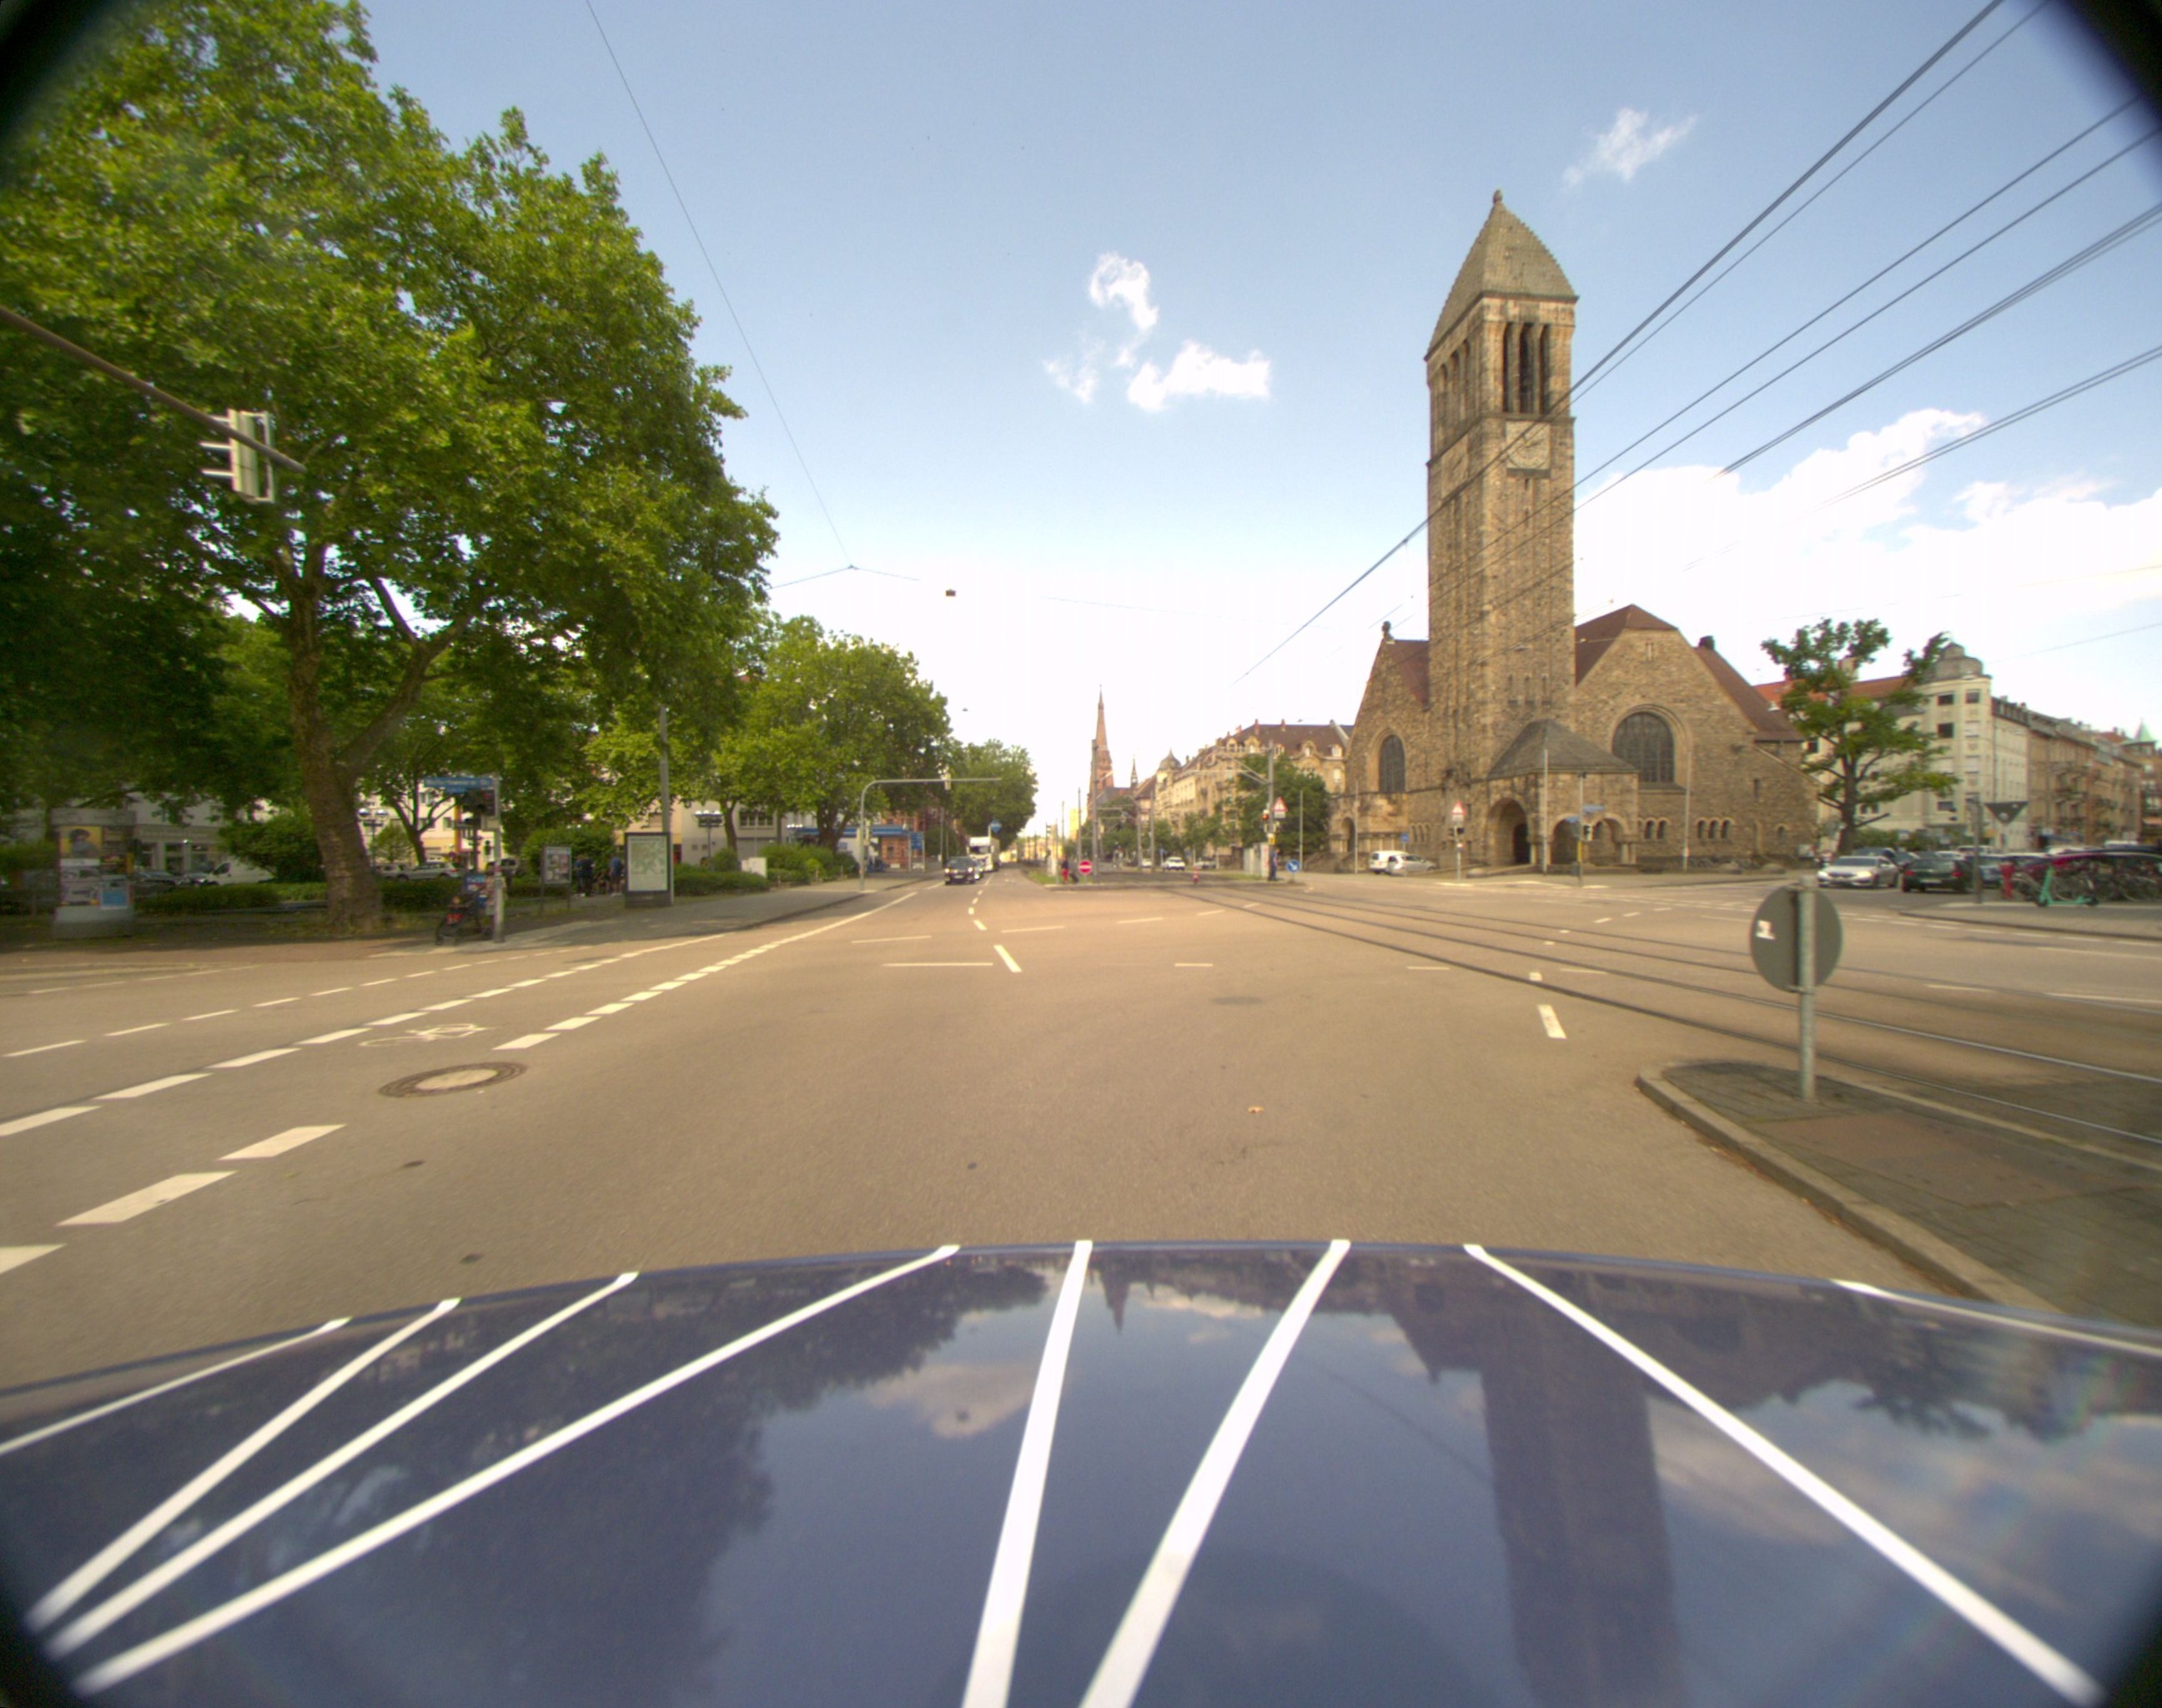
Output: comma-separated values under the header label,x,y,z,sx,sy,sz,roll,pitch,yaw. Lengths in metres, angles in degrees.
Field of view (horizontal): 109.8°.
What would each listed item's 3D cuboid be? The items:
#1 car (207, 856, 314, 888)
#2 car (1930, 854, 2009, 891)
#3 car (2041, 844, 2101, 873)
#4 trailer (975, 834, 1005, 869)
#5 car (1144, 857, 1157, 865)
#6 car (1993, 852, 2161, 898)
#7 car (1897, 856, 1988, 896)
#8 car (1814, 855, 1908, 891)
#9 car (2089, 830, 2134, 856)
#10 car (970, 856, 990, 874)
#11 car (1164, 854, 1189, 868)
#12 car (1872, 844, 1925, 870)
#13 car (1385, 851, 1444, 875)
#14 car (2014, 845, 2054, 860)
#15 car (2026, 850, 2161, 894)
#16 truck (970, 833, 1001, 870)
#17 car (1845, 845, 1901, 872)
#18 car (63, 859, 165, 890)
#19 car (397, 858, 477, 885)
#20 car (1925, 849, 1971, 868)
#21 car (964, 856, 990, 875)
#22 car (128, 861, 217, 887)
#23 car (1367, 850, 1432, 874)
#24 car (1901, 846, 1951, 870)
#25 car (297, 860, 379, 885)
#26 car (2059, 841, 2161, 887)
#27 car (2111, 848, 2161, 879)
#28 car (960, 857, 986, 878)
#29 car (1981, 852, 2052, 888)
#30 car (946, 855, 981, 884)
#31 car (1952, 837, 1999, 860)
label,x,y,z,sx,sy,sz,roll,pitch,yaw
car,-53.998,1.163,50.080,4.489,1.894,2.103,-1,1,-4
car,40.905,0.804,34.976,3.938,1.531,1.748,-1,1,-31
car,62.609,0.285,48.060,4.291,1.765,1.813,0,1,-31
trailer,-11.330,-0.367,95.546,2.916,4.054,11.646,-1,1,-3
car,11.624,1.149,126.954,1.655,1.226,3.062,-1,0,-5
car,35.036,0.720,26.299,3.991,1.448,1.815,-3,-2,22
car,34.760,0.858,30.644,3.824,1.425,1.714,-1,1,-30
car,35.203,0.802,34.275,4.393,1.440,1.823,-1,2,-29
car,102.088,-1.087,75.256,5.955,2.431,2.077,0,2,-31
car,-9.318,0.996,70.144,1.686,1.554,3.751,-1,0,-5
car,10.738,0.808,85.657,1.820,1.497,4.128,-1,0,-7
car,58.566,0.230,54.411,4.006,1.780,1.680,-1,1,-29
car,24.792,0.685,56.595,3.637,1.668,1.818,1,-1,-9
car,93.603,-0.130,74.629,4.193,1.360,1.807,-1,0,-29
car,37.879,0.656,27.667,3.946,1.448,1.734,-3,-3,19
truck,-10.999,-0.294,88.037,2.916,4.125,6.588,-1,1,-2
car,54.067,0.293,51.868,4.151,1.780,1.680,-1,1,-29
car,-64.910,1.345,51.065,3.998,1.953,1.999,-1,1,-4
car,-46.326,1.252,54.708,3.998,1.790,1.868,-1,1,-4
car,68.744,0.336,60.229,3.804,1.438,1.680,-1,1,-29
car,-8.746,0.933,64.131,1.854,1.438,3.971,-1,1,-4
car,-64.770,1.425,54.192,3.998,1.687,1.736,-1,1,-4
car,25.150,0.611,60.011,4.304,1.842,1.999,0,-1,-6
car,64.087,0.300,57.627,4.006,1.780,1.680,-1,1,-29
car,-54.238,1.332,55.505,3.998,1.671,1.854,-1,1,-4
car,45.929,0.416,32.915,3.945,1.856,1.734,-3,-1,26
car,56.643,0.433,39.085,3.946,1.575,1.734,-3,-3,20
car,-8.091,0.993,57.184,1.734,1.457,4.325,-1,0,-5
car,48.865,0.786,39.687,4.026,1.574,1.771,-2,4,-32
car,-7.502,0.934,48.862,1.854,1.717,4.417,-1,0,-4
car,76.543,-0.467,64.989,4.193,1.927,1.841,-1,1,-29
